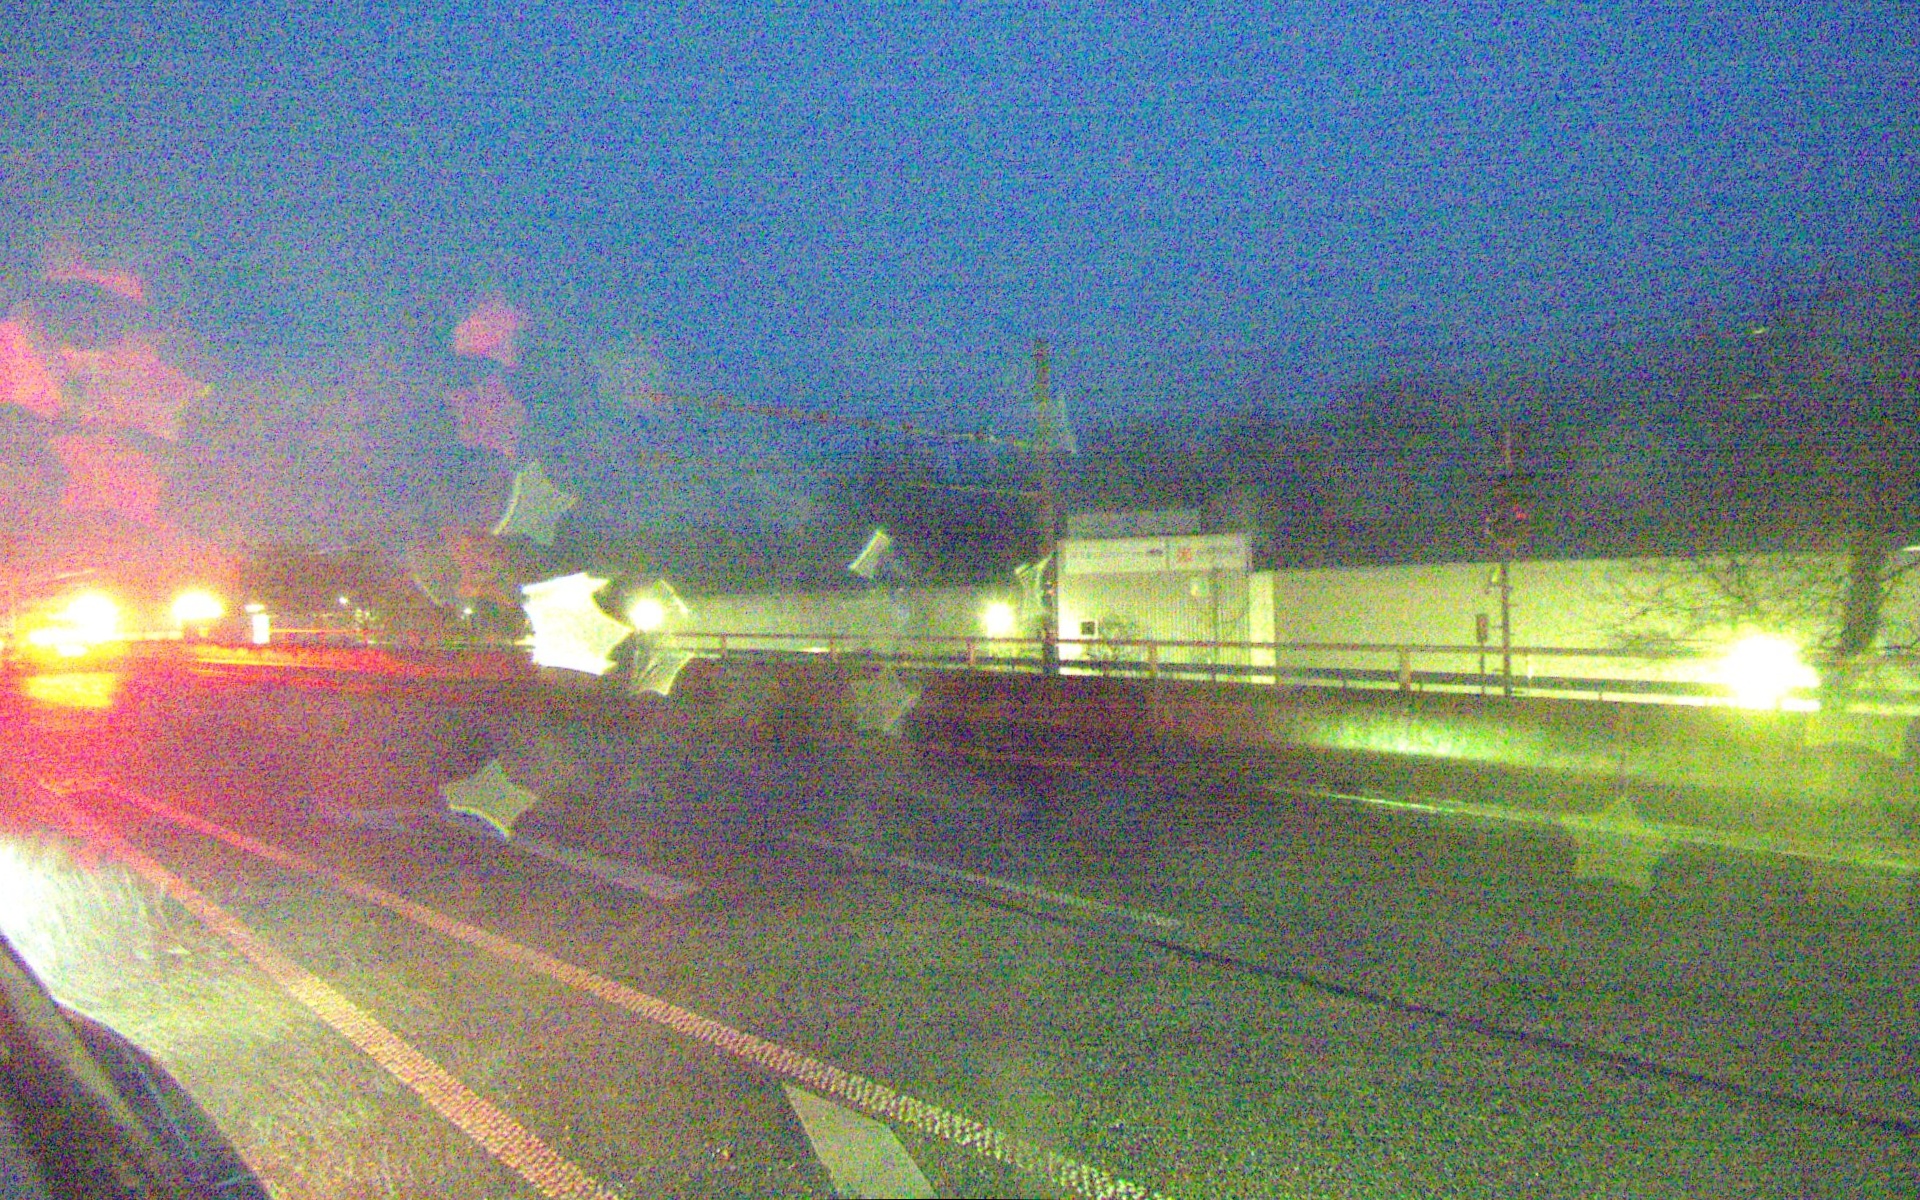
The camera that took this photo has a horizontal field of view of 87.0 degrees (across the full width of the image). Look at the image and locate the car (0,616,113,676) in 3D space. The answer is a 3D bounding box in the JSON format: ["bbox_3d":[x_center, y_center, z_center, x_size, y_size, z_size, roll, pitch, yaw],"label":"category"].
[{"bbox_3d":[-26.091,1.321,29.041,4.479,1.580,1.870,-3,-2,38],"label":"car"}]
